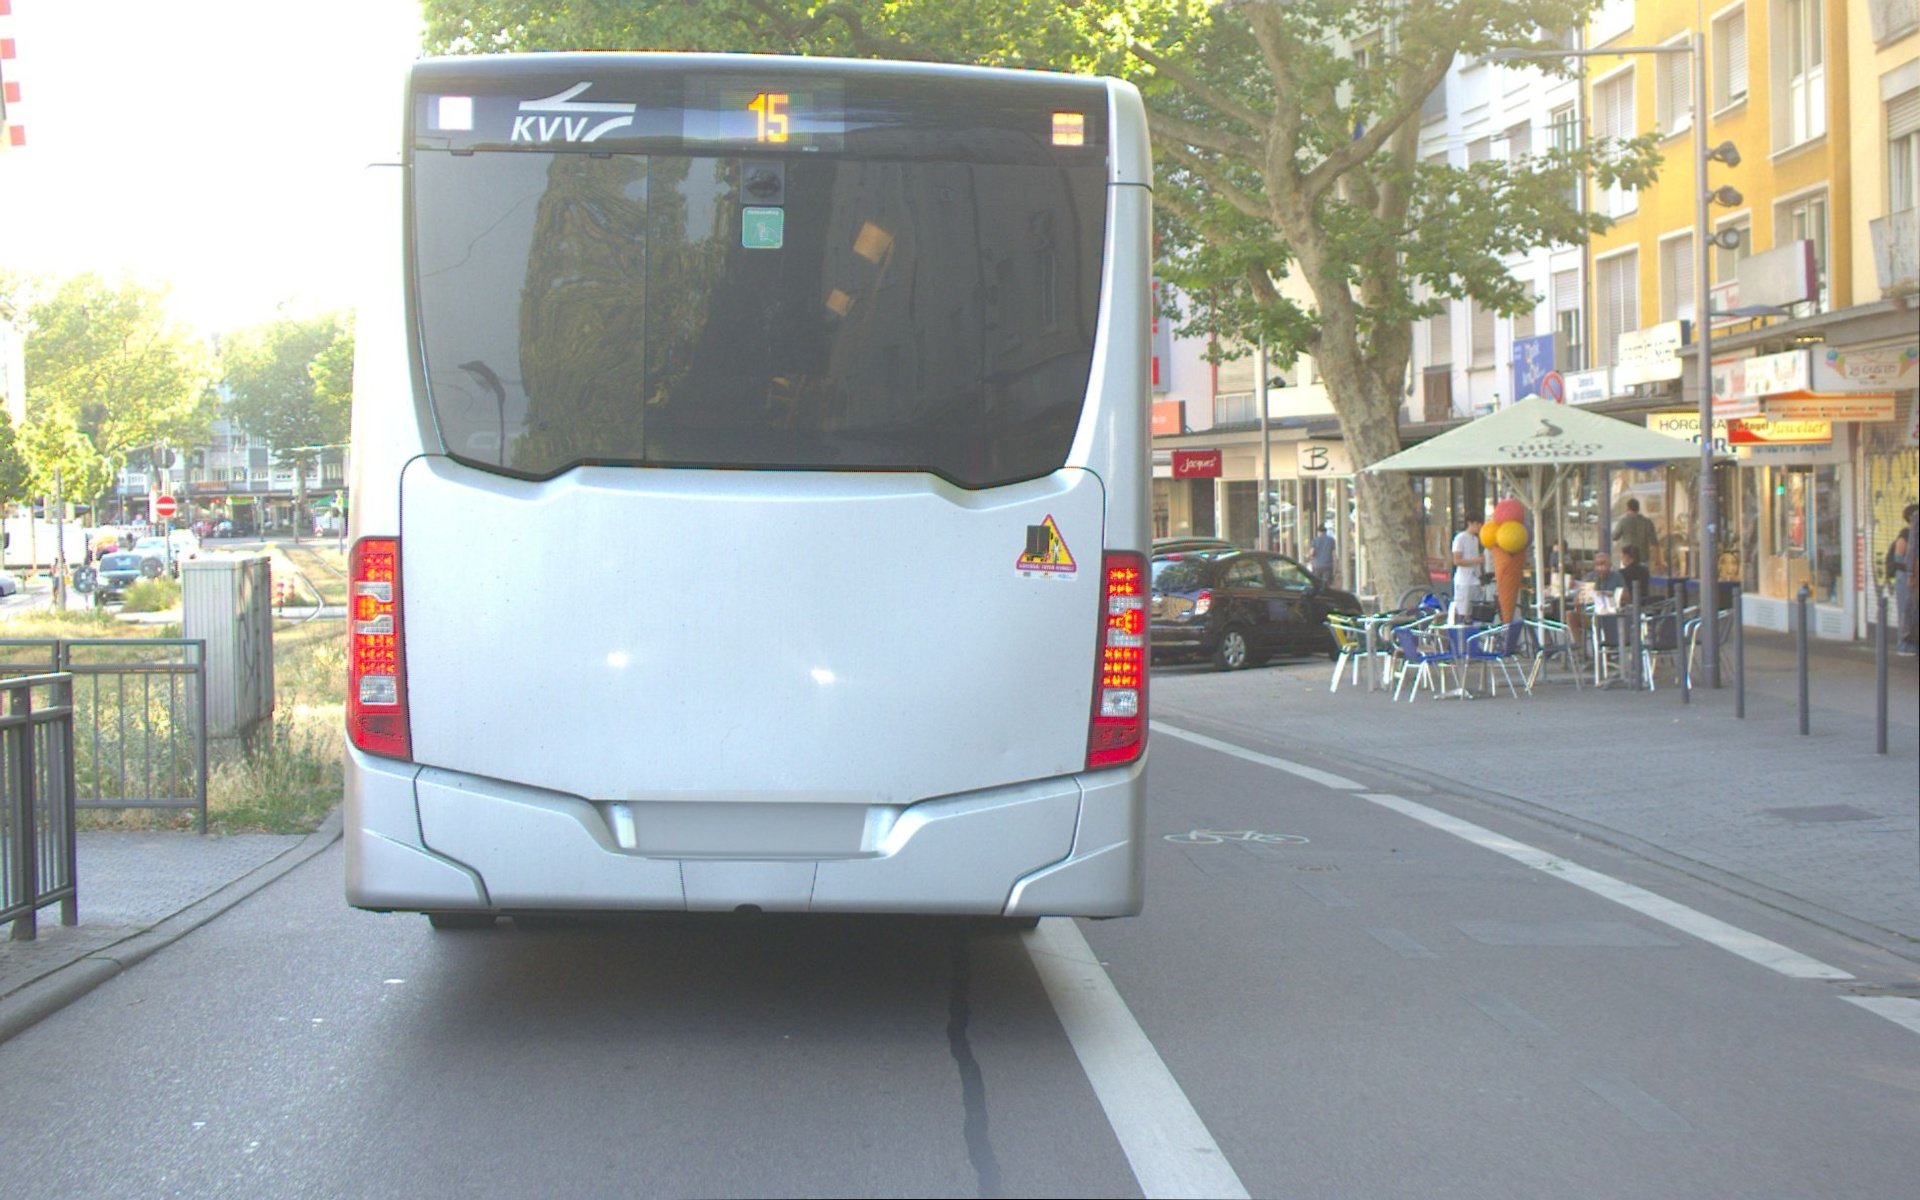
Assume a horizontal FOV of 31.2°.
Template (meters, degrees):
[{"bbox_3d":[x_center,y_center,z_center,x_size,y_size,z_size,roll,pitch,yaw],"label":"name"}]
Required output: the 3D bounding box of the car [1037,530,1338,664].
[{"bbox_3d":[3.113,-0.067,46.501,1.808,1.675,4.141,0,1,43],"label":"car"}]

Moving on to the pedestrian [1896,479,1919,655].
[{"bbox_3d":[10.084,-0.347,35.496,0.636,1.797,0.626,-1,1,30],"label":"pedestrian"}]

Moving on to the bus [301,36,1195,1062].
[{"bbox_3d":[-0.787,-0.232,13.901,2.677,3.073,7.115,0,1,-3],"label":"bus"}]

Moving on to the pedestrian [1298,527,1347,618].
[{"bbox_3d":[7.181,-0.545,68.149,0.780,1.787,0.764,-1,1,-6],"label":"pedestrian"}]

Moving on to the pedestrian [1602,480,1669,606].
[{"bbox_3d":[9.892,-0.842,50.355,0.706,1.785,0.788,-4,1,0],"label":"pedestrian"}]

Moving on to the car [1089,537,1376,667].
[{"bbox_3d":[3.502,0.004,43.799,1.740,1.535,3.599,0,1,43],"label":"car"}]

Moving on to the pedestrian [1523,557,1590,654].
[{"bbox_3d":[6.949,0.062,40.073,0.583,1.111,0.751,1,1,-6],"label":"pedestrian"}]

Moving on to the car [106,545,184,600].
[{"bbox_3d":[-24.481,-0.846,103.399,1.722,1.504,3.477,-4,1,-5],"label":"car"}]

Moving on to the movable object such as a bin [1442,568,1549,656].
[{"bbox_3d":[6.379,0.142,40.959,0.926,1.020,0.840,0,1,-28],"label":"movable object such as a bin"}]

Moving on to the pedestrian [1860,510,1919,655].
[{"bbox_3d":[10.077,-0.193,37.019,0.625,1.541,0.636,-1,1,25],"label":"pedestrian"}]

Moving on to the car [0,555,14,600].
[{"bbox_3d":[-32.736,-0.662,109.556,4.539,1.407,1.999,-2,1,-42],"label":"car"}]

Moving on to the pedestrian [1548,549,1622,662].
[{"bbox_3d":[6.853,0.056,37.699,0.605,1.221,0.745,-1,1,-6],"label":"pedestrian"}]

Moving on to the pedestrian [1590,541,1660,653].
[{"bbox_3d":[7.618,-0.043,39.394,0.583,1.270,0.759,1,1,-6],"label":"pedestrian"}]
